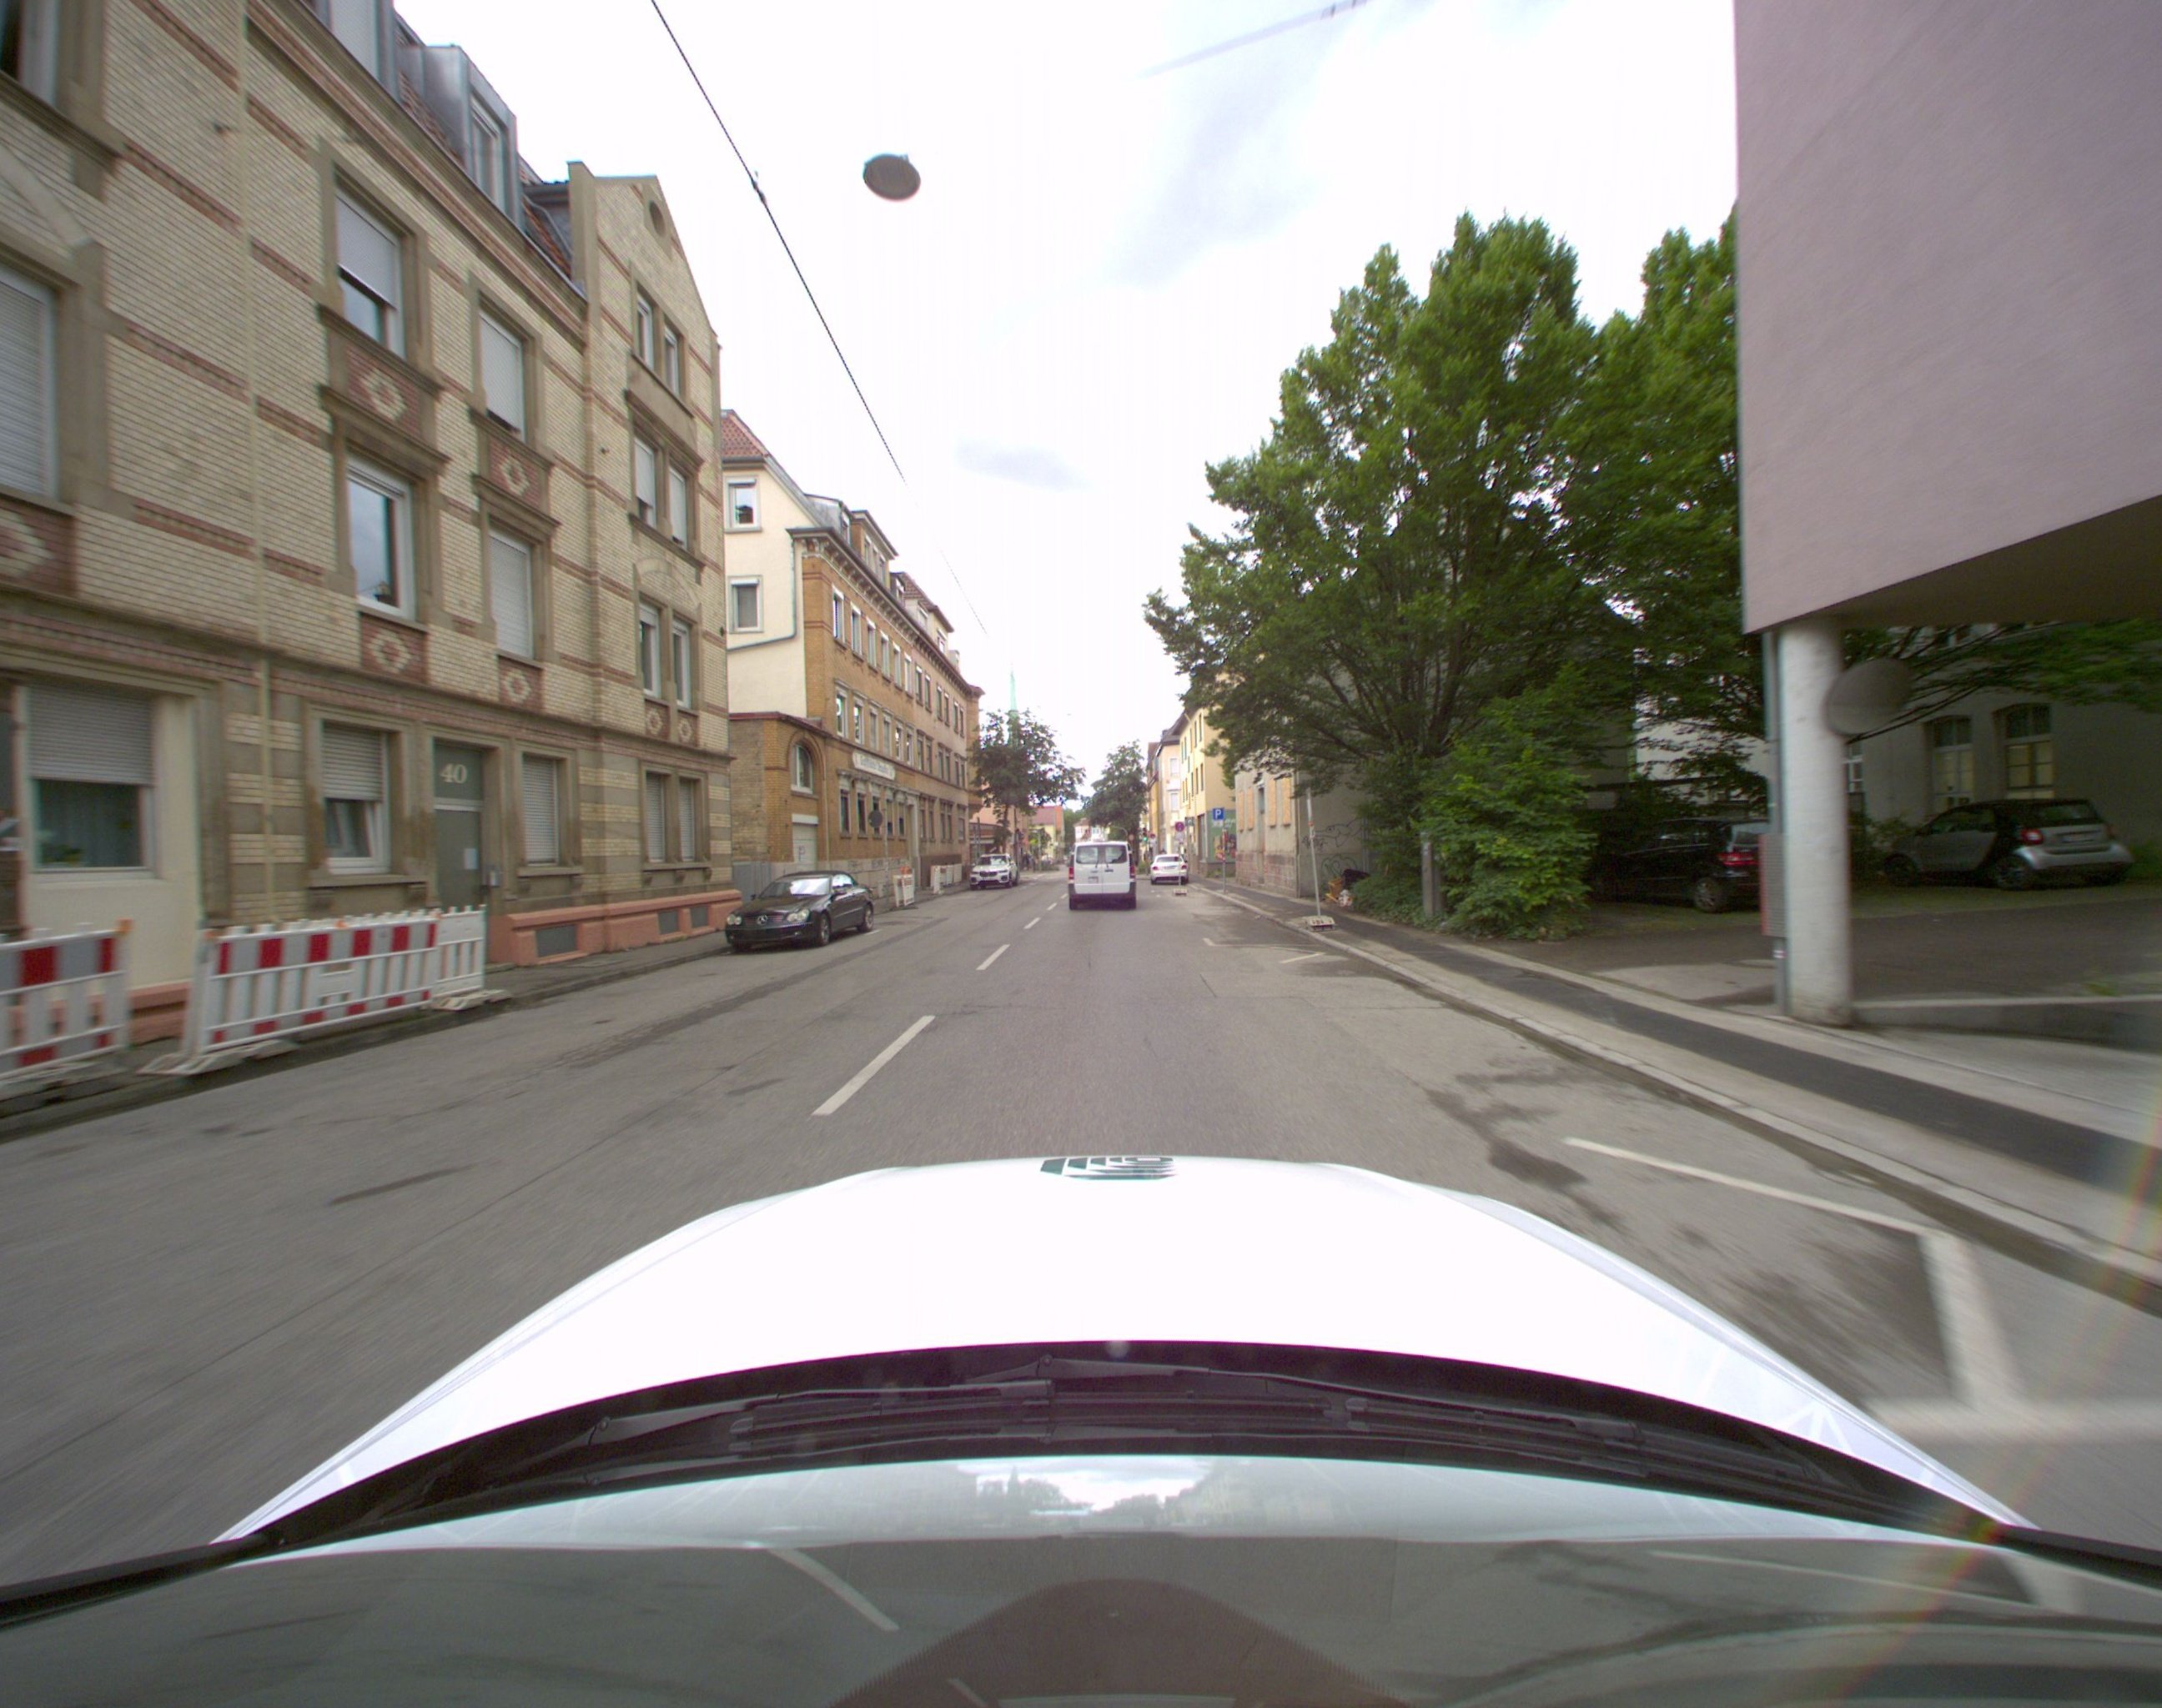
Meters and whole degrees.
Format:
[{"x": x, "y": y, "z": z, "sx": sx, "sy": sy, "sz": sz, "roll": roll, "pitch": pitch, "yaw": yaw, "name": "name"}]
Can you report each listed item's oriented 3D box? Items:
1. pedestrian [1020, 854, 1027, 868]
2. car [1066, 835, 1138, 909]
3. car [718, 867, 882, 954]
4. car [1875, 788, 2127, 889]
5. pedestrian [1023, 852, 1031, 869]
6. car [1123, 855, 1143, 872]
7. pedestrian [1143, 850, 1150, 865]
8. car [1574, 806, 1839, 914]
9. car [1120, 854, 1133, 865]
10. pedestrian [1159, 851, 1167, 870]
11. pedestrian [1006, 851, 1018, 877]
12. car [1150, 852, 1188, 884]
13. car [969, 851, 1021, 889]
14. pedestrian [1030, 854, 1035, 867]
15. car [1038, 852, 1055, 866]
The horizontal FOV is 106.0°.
[{"x": -6.670, "y": 0.777, "z": 94.621, "sx": 0.730, "sy": 1.628, "sz": 0.756, "roll": -2, "pitch": 0, "yaw": -9, "name": "pedestrian"}, {"x": 0.615, "y": 0.490, "z": 23.717, "sx": 1.866, "sy": 1.912, "sz": 4.001, "roll": -2, "pitch": 0, "yaw": 1, "name": "car"}, {"x": -5.500, "y": 1.037, "z": 16.552, "sx": 1.572, "sy": 1.382, "sz": 4.357, "roll": -3, "pitch": 0, "yaw": 2, "name": "car"}, {"x": 16.390, "y": -0.252, "z": 14.694, "sx": 1.457, "sy": 1.528, "sz": 2.670, "roll": -5, "pitch": 0, "yaw": 2, "name": "car"}, {"x": -5.622, "y": 0.666, "z": 85.325, "sx": 0.736, "sy": 1.718, "sz": 1.156, "roll": -1, "pitch": 0, "yaw": -2, "name": "pedestrian"}, {"x": 5.772, "y": 1.059, "z": 90.126, "sx": 1.814, "sy": 1.781, "sz": 4.400, "roll": -1, "pitch": -1, "yaw": -1, "name": "car"}, {"x": 7.108, "y": 0.372, "z": 88.439, "sx": 0.699, "sy": 1.649, "sz": 0.888, "roll": -3, "pitch": 0, "yaw": 0, "name": "pedestrian"}, {"x": 11.151, "y": 0.064, "z": 14.934, "sx": 1.632, "sy": 1.584, "sz": 3.997, "roll": -4, "pitch": 1, "yaw": -2, "name": "car"}, {"x": 5.994, "y": 0.725, "z": 107.676, "sx": 1.546, "sy": 1.333, "sz": 3.811, "roll": -1, "pitch": 0, "yaw": -1, "name": "car"}, {"x": 7.239, "y": 0.545, "z": 71.726, "sx": 0.612, "sy": 1.653, "sz": 0.982, "roll": -1, "pitch": 0, "yaw": 0, "name": "pedestrian"}, {"x": -4.886, "y": 0.702, "z": 57.779, "sx": 0.737, "sy": 1.754, "sz": 0.981, "roll": -1, "pitch": 0, "yaw": -4, "name": "pedestrian"}, {"x": 4.408, "y": 0.671, "z": 41.416, "sx": 1.759, "sy": 1.466, "sz": 4.789, "roll": -2, "pitch": 0, "yaw": 4, "name": "car"}, {"x": -4.311, "y": 0.786, "z": 41.500, "sx": 1.884, "sy": 1.712, "sz": 4.743, "roll": -4, "pitch": 0, "yaw": 2, "name": "car"}, {"x": -5.973, "y": 0.785, "z": 101.029, "sx": 0.569, "sy": 1.554, "sz": 0.697, "roll": 0, "pitch": 0, "yaw": 1, "name": "pedestrian"}, {"x": -4.008, "y": 0.582, "z": 95.648, "sx": 1.697, "sy": 1.574, "sz": 4.449, "roll": -4, "pitch": 0, "yaw": 0, "name": "car"}]
